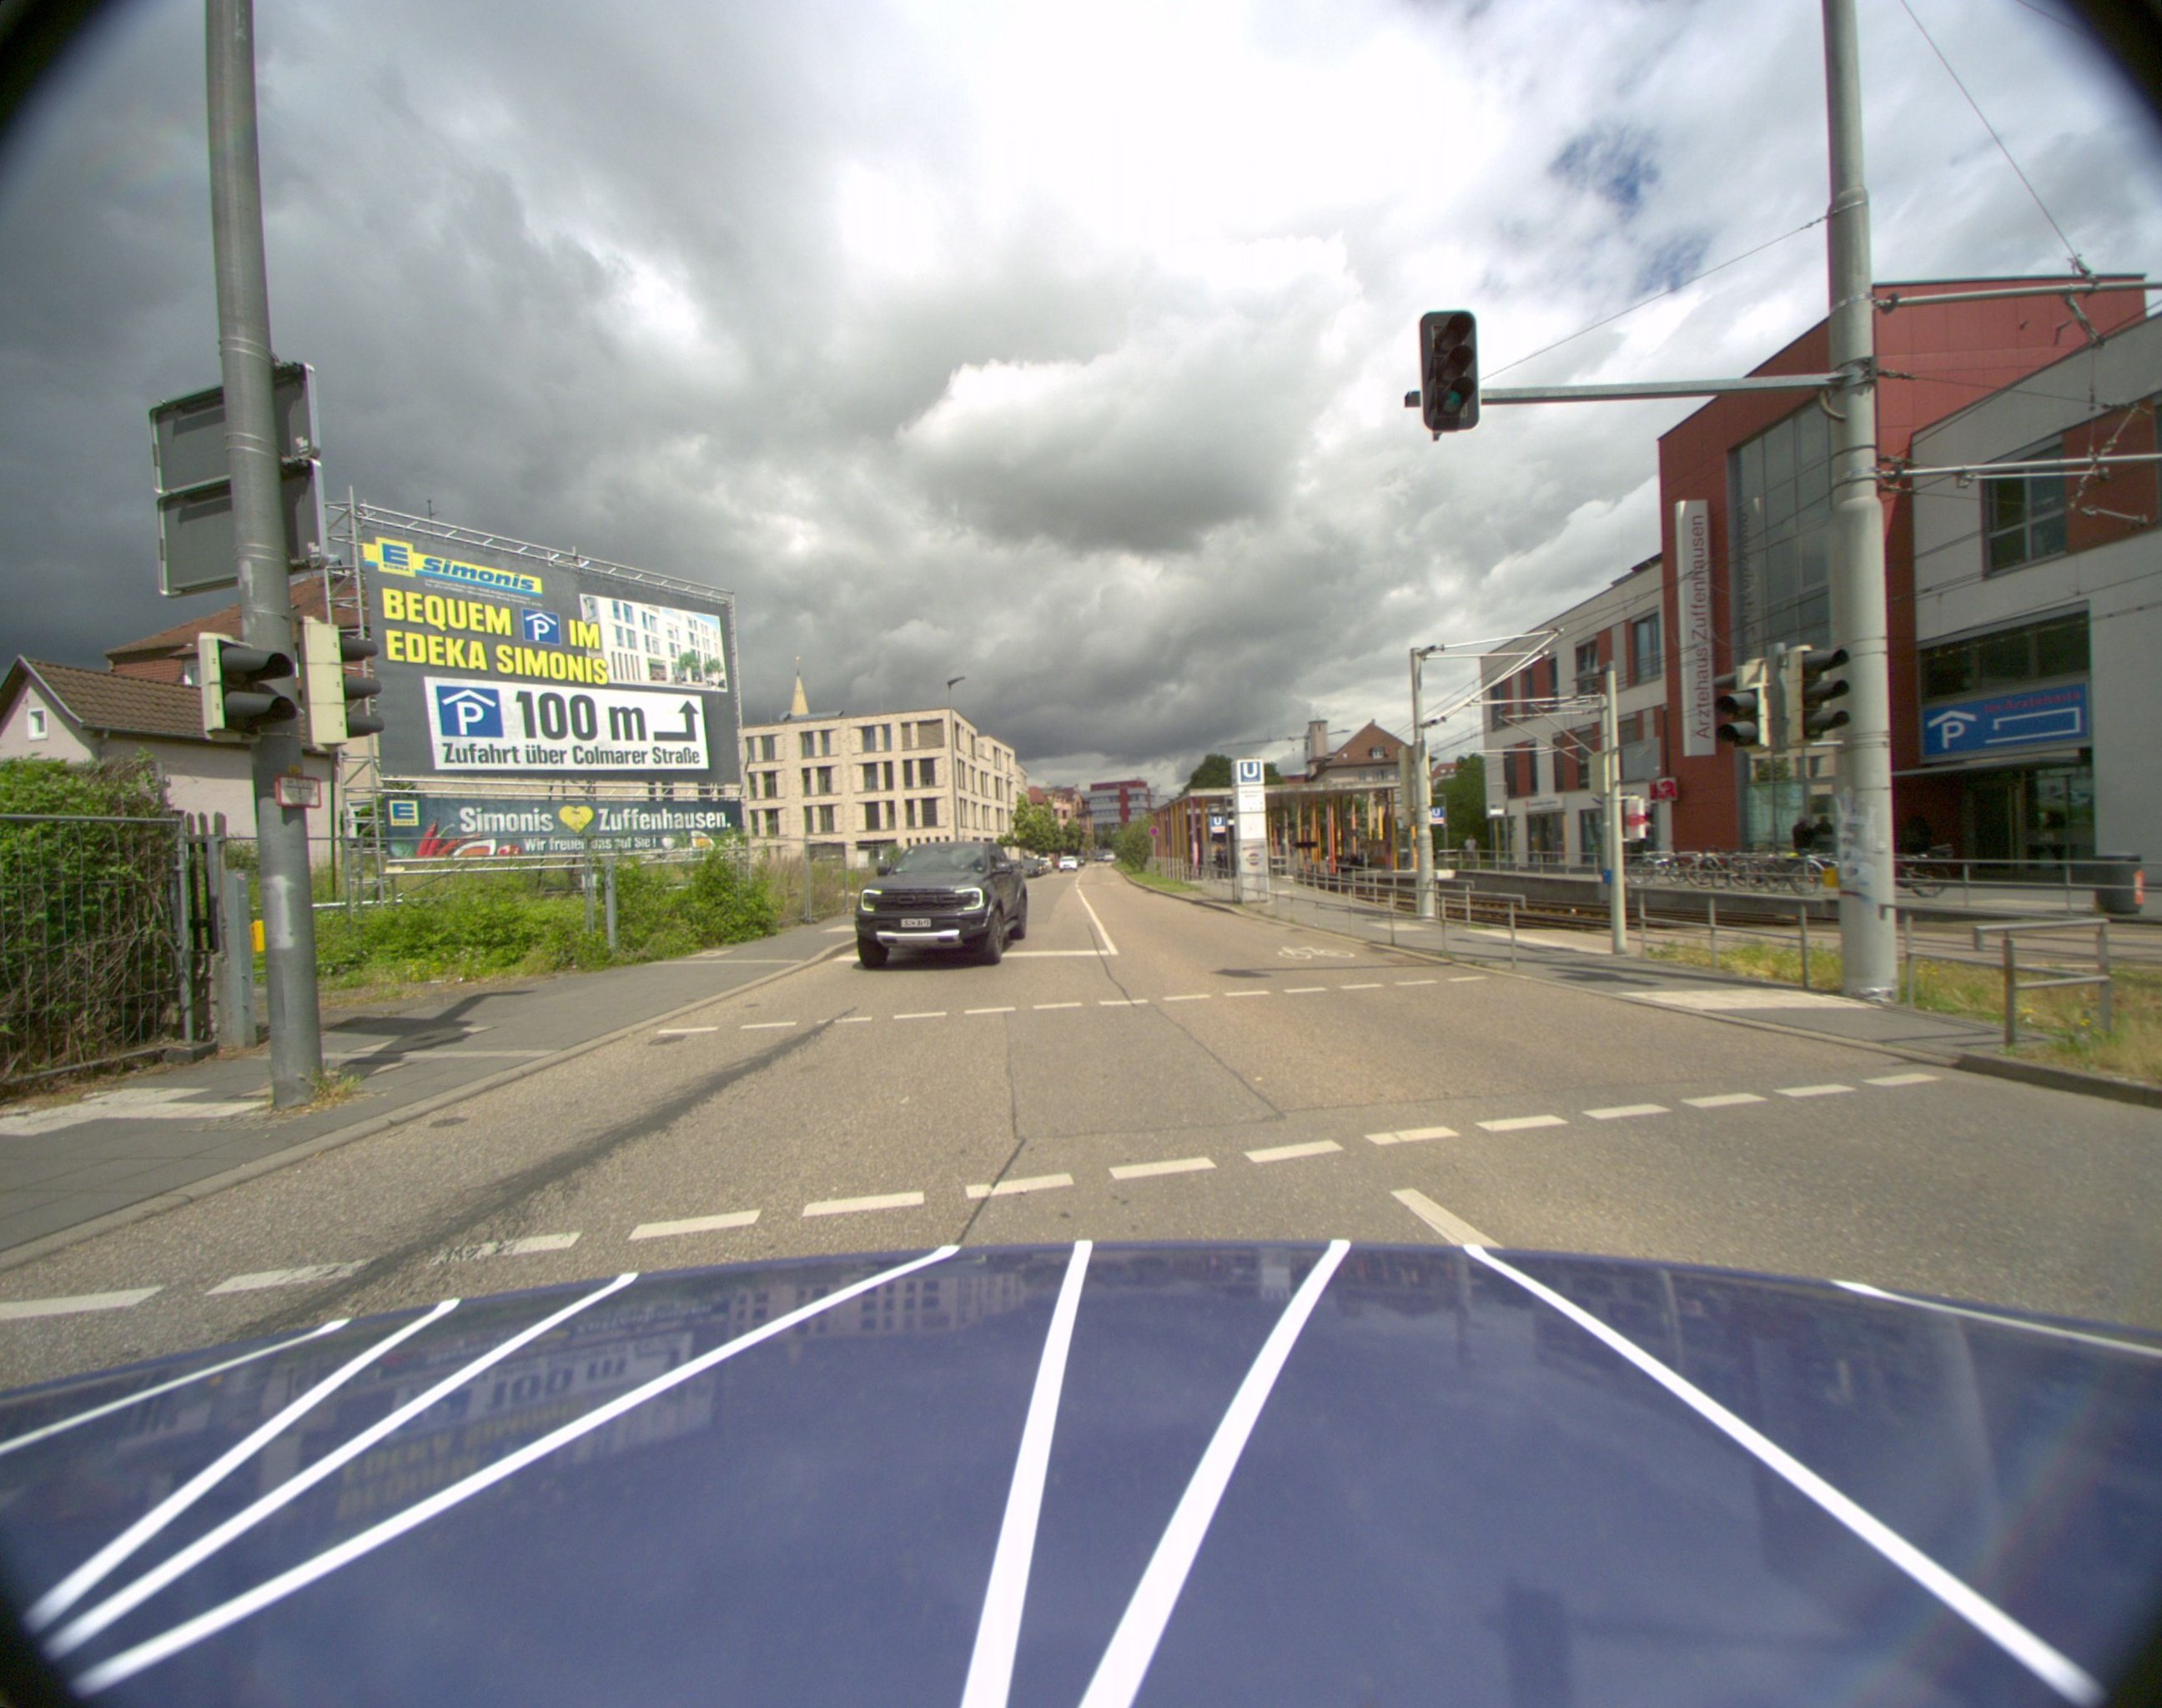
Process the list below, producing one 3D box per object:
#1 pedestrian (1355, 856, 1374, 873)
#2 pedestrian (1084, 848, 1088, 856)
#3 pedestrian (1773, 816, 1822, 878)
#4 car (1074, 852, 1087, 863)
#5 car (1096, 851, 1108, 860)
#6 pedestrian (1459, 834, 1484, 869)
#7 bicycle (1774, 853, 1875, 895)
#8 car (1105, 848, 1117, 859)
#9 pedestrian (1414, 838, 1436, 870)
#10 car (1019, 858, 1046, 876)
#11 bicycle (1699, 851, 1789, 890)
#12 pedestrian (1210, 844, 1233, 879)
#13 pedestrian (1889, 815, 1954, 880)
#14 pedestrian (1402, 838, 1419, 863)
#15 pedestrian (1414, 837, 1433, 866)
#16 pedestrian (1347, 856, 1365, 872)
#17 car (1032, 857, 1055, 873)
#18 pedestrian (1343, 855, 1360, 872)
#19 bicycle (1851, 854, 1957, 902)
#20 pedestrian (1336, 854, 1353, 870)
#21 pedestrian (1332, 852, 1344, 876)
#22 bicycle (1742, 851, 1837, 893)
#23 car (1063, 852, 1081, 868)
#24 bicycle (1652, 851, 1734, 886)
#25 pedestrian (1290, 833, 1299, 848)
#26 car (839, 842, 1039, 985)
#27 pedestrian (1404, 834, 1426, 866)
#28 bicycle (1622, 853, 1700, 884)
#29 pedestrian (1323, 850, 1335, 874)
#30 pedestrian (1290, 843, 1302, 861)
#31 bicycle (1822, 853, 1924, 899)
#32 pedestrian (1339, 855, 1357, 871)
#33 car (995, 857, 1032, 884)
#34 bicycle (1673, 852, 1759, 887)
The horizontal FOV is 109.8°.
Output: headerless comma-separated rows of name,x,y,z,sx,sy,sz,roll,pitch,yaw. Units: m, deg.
pedestrian,19.258,0.709,51.685,0.943,1.128,0.886,-2,0,2
pedestrian,0.928,-0.402,144.183,0.673,1.503,0.783,-2,0,3
pedestrian,22.005,-0.233,23.341,0.881,1.835,0.862,-4,3,-27
car,-0.035,0.462,103.693,1.678,1.425,3.794,-2,1,0
car,3.422,0.242,125.831,1.677,1.299,3.795,-1,1,6
pedestrian,22.130,-0.153,43.061,0.864,1.957,1.106,-1,2,3
bicycle,17.640,0.476,18.040,1.862,0.930,0.454,-2,1,3
car,4.613,-0.111,117.179,1.588,1.528,3.946,-5,1,1
pedestrian,21.334,-0.035,47.134,0.864,1.957,1.105,-1,2,-1
car,-3.811,0.993,59.956,1.677,1.367,3.795,-2,0,3
bicycle,17.543,0.435,20.123,1.861,0.934,0.454,-2,1,5
pedestrian,7.695,0.404,41.644,1.105,1.903,0.864,-1,2,2
pedestrian,22.501,-0.185,20.356,0.933,1.688,0.790,0,2,28
pedestrian,25.939,-0.256,59.866,0.864,1.957,1.105,-1,2,-2
pedestrian,23.460,-0.184,52.002,0.863,1.957,1.106,-1,2,6
pedestrian,19.062,0.695,52.641,0.943,1.128,0.886,-2,0,2
car,-3.301,0.996,67.859,1.677,1.299,3.794,-1,1,3
pedestrian,19.078,0.677,53.598,0.943,1.128,0.886,-2,0,2
bicycle,17.719,0.509,16.367,1.739,0.947,0.428,-2,1,3
pedestrian,19.294,0.613,55.613,0.943,1.128,0.886,-2,0,2
pedestrian,22.077,0.831,65.276,0.623,2.002,0.763,-1,0,-6
bicycle,17.677,0.444,18.971,1.862,0.957,0.454,-2,1,3
car,-0.915,0.602,76.123,1.719,1.541,3.793,-1,0,1
bicycle,17.586,0.414,21.853,1.861,0.927,0.455,-2,1,9
pedestrian,30.412,-1.925,108.047,1.125,2.002,1.661,-1,0,13
car,-2.039,0.758,12.696,2.003,1.876,5.151,-1,1,4
pedestrian,20.691,-0.244,47.133,0.864,1.957,1.105,-1,2,-1
bicycle,17.527,0.428,22.981,1.861,0.876,0.455,-2,1,9
pedestrian,21.307,0.668,65.316,0.617,2.002,0.775,-1,0,-6
pedestrian,24.488,-0.193,86.507,1.127,2.002,1.179,-1,0,6
bicycle,17.707,0.495,17.000,1.739,0.952,0.428,-2,1,3
pedestrian,19.174,0.657,54.589,0.943,1.128,0.886,-2,0,2
car,-4.069,0.965,46.108,1.677,1.415,3.794,-1,1,3
bicycle,17.561,0.429,21.024,1.861,0.917,0.455,-2,1,8
